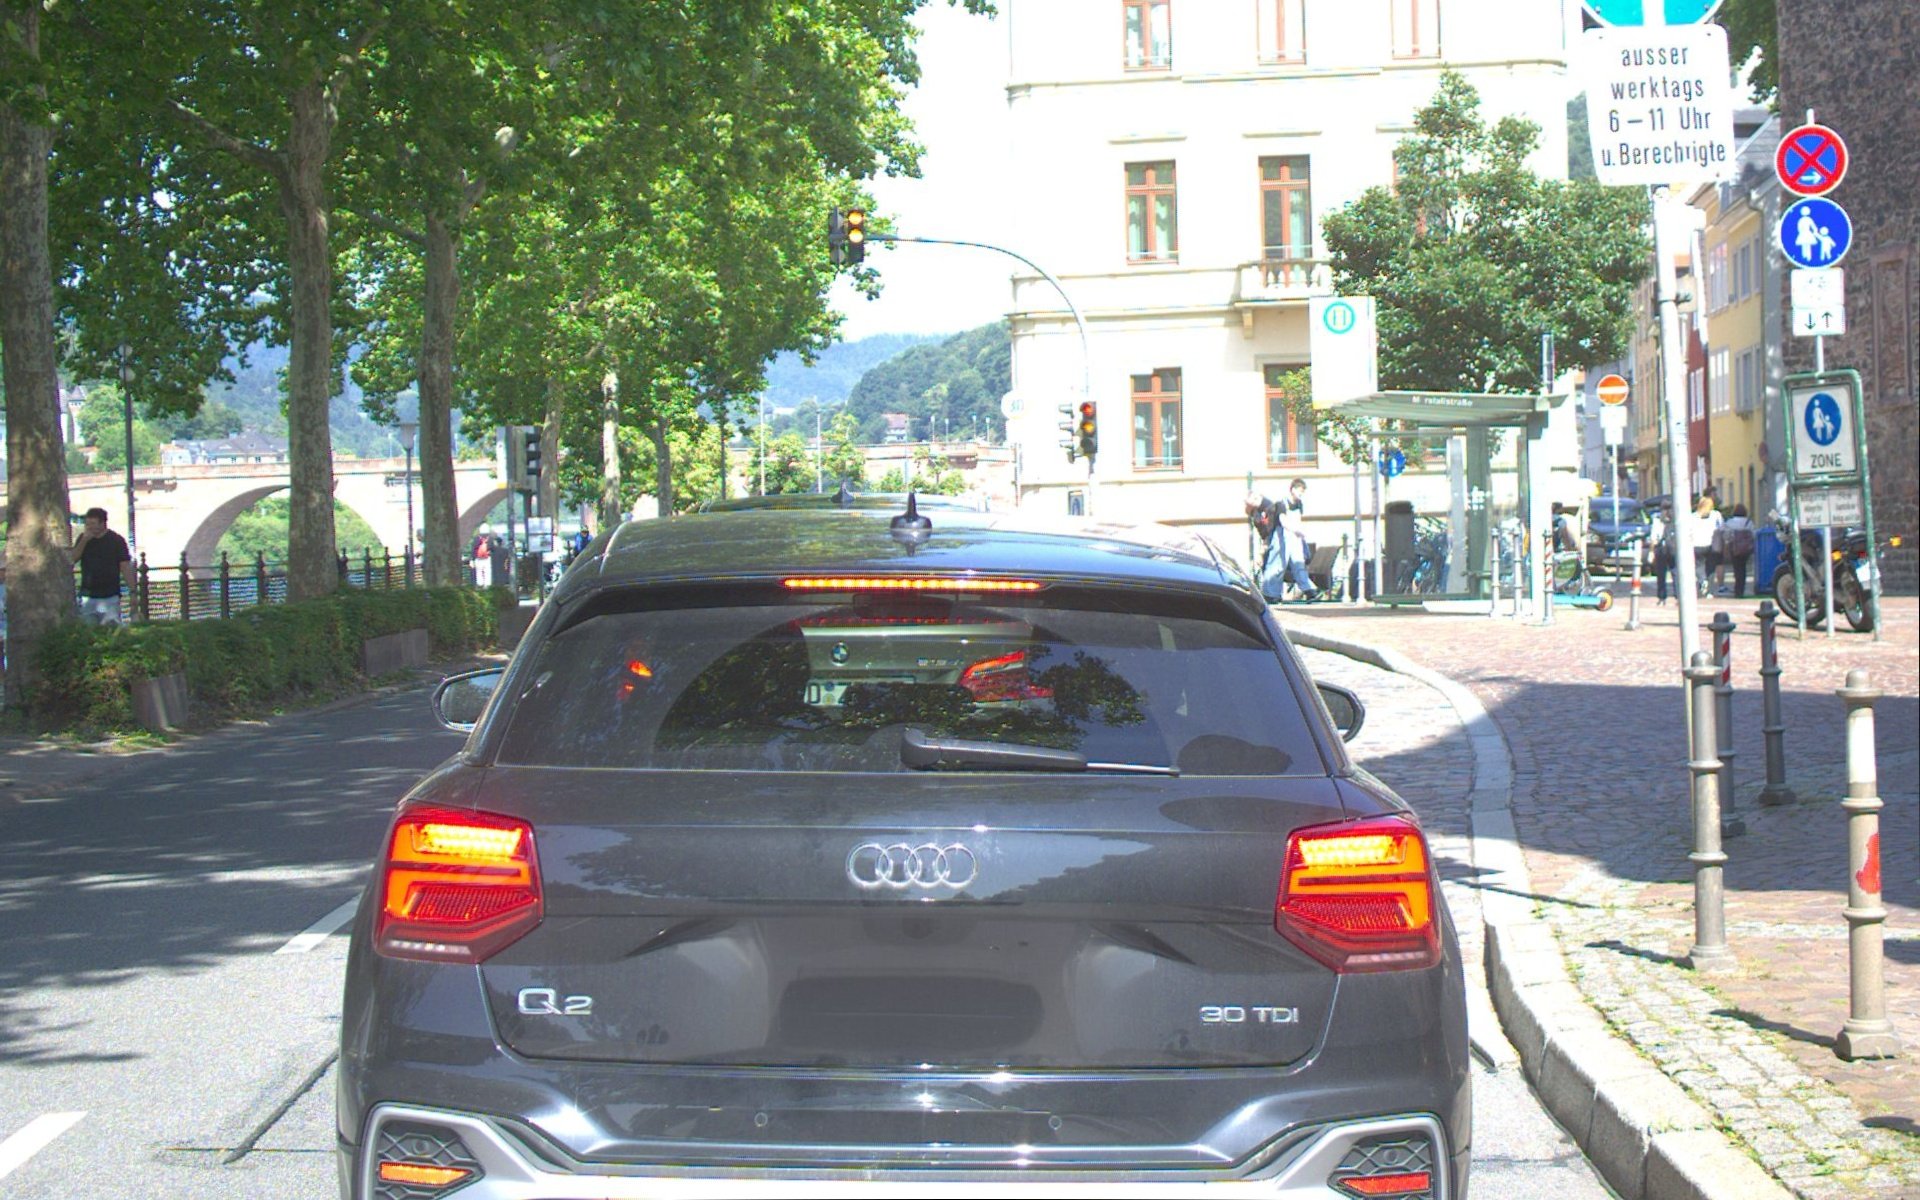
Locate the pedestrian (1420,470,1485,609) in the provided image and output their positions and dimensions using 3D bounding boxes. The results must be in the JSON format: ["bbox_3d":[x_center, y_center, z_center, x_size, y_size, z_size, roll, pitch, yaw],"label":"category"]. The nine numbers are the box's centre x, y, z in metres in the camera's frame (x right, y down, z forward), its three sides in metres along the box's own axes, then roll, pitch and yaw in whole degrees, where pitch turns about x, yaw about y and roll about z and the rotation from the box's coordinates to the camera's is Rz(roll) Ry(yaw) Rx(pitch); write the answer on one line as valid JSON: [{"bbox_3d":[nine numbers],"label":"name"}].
[{"bbox_3d":[5.991,-0.740,41.787,0.654,1.656,0.809,-1,1,15],"label":"pedestrian"}]

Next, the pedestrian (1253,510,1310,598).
[{"bbox_3d":[4.496,-0.643,48.160,0.663,1.207,0.641,1,0,-6],"label":"pedestrian"}]

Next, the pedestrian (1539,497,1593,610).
[{"bbox_3d":[7.505,-0.579,42.605,0.557,1.380,0.588,1,0,2],"label":"pedestrian"}]

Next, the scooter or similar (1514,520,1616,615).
[{"bbox_3d":[6.931,-0.372,39.402,1.088,1.062,0.323,1,0,-2],"label":"scooter or similar"}]

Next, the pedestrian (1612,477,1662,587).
[{"bbox_3d":[14.595,-1.467,74.121,0.879,2.350,0.745,1,0,-1],"label":"pedestrian"}]

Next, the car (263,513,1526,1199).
[{"bbox_3d":[-0.118,0.601,6.615,1.743,1.504,3.647,1,1,-1],"label":"car"}]

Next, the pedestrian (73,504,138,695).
[{"bbox_3d":[-8.463,-0.009,34.070,0.534,1.880,0.436,0,1,-1],"label":"pedestrian"}]

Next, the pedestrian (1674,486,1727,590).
[{"bbox_3d":[11.775,-0.980,54.681,0.607,1.613,0.710,-3,0,-1],"label":"pedestrian"}]

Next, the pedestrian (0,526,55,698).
[{"bbox_3d":[-9.398,0.114,34.190,0.601,1.680,0.583,-1,1,-2],"label":"pedestrian"}]

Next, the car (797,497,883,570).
[{"bbox_3d":[-3.141,-1.766,90.589,1.993,1.800,4.000,-2,1,1],"label":"car"}]

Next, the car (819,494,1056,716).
[{"bbox_3d":[-0.195,-0.008,28.220,1.794,1.676,4.000,1,1,-1],"label":"car"}]

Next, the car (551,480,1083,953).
[{"bbox_3d":[-0.510,0.361,13.456,1.793,1.589,3.399,1,1,-1],"label":"car"}]

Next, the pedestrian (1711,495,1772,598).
[{"bbox_3d":[12.438,-0.852,54.746,0.691,1.607,0.891,-3,1,-1],"label":"pedestrian"}]

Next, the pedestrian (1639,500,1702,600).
[{"bbox_3d":[10.492,-0.741,50.774,0.638,1.439,0.799,-2,1,-7],"label":"pedestrian"}]

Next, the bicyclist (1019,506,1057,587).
[{"bbox_3d":[1.421,-0.973,62.329,0.605,1.445,0.591,1,0,-5],"label":"bicyclist"}]

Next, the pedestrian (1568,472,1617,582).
[{"bbox_3d":[13.651,-1.573,74.238,0.879,2.349,0.745,1,0,-1],"label":"pedestrian"}]

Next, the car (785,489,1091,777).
[{"bbox_3d":[-0.148,0.150,21.742,1.710,1.603,3.655,-2,1,-1],"label":"car"}]

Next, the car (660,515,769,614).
[{"bbox_3d":[-4.454,-0.680,62.802,1.673,1.654,4.223,-4,1,-1],"label":"car"}]

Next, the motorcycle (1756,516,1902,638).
[{"bbox_3d":[7.595,-0.223,30.144,0.566,1.009,2.490,-1,1,-2],"label":"motorcycle"}]

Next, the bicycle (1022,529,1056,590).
[{"bbox_3d":[1.425,-0.734,62.347,0.437,1.082,1.677,1,1,-5],"label":"bicycle"}]

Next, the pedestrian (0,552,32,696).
[{"bbox_3d":[-9.210,0.219,32.927,0.479,1.358,0.417,2,1,4],"label":"pedestrian"}]

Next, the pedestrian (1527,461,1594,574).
[{"bbox_3d":[10.775,-1.479,61.672,0.940,2.007,0.808,1,0,-9],"label":"pedestrian"}]

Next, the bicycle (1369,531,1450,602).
[{"bbox_3d":[6.485,-0.483,49.600,1.184,1.012,0.179,1,0,-19],"label":"bicycle"}]

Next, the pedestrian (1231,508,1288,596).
[{"bbox_3d":[4.258,-0.679,48.896,0.663,1.227,0.641,1,0,-6],"label":"pedestrian"}]
